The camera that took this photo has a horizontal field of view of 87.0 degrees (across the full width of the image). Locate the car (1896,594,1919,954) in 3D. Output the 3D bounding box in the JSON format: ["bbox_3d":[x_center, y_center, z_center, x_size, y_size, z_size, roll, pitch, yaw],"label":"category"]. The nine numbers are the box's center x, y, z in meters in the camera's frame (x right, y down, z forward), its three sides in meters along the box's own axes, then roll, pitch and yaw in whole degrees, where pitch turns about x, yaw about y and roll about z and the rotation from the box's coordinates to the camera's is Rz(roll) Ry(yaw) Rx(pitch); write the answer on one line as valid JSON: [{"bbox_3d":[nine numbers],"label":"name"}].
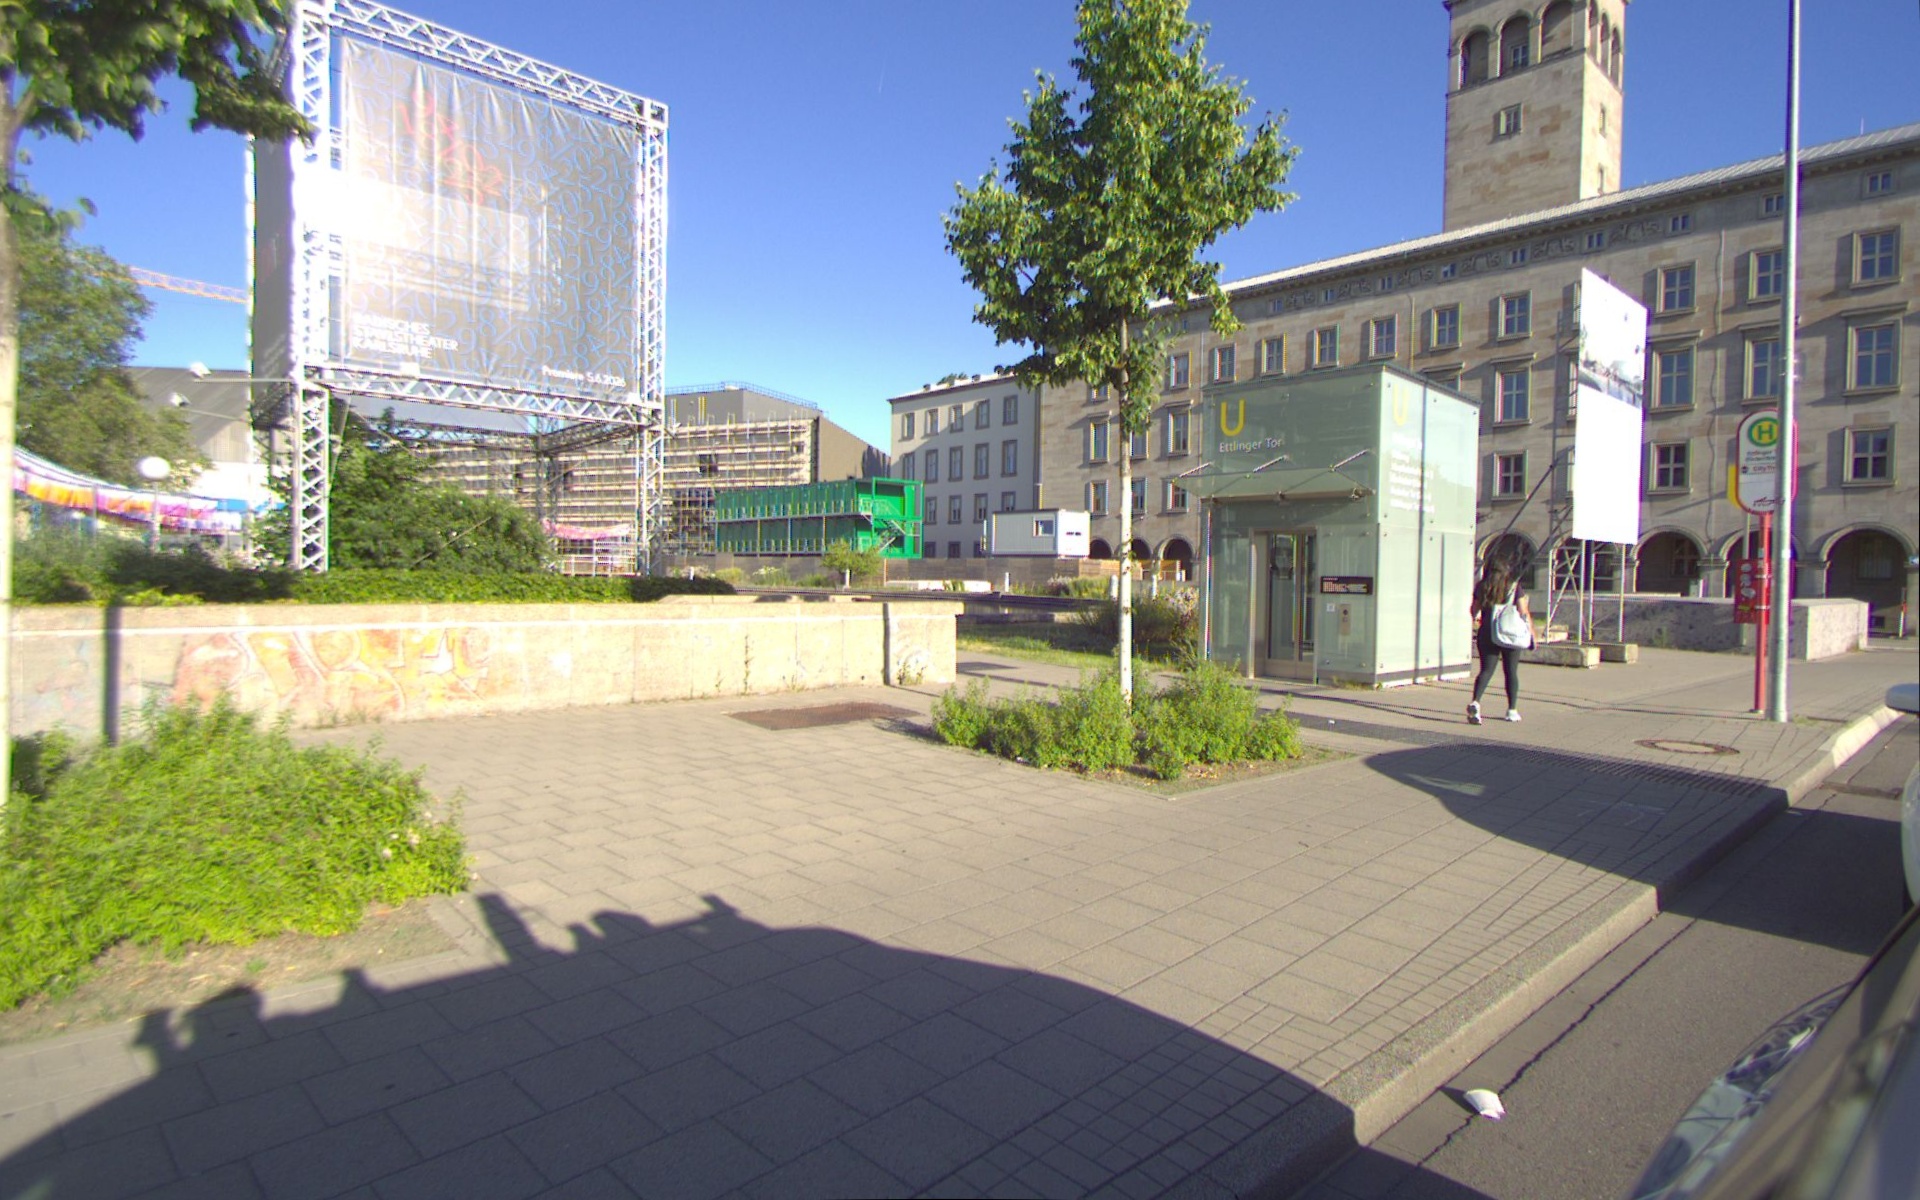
[{"bbox_3d":[5.850,0.708,4.791,3.821,1.467,1.677,0,0,-41],"label":"car"}]

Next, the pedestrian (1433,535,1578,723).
[{"bbox_3d":[5.599,0.263,10.399,1.053,1.809,0.942,0,1,-38],"label":"pedestrian"}]
